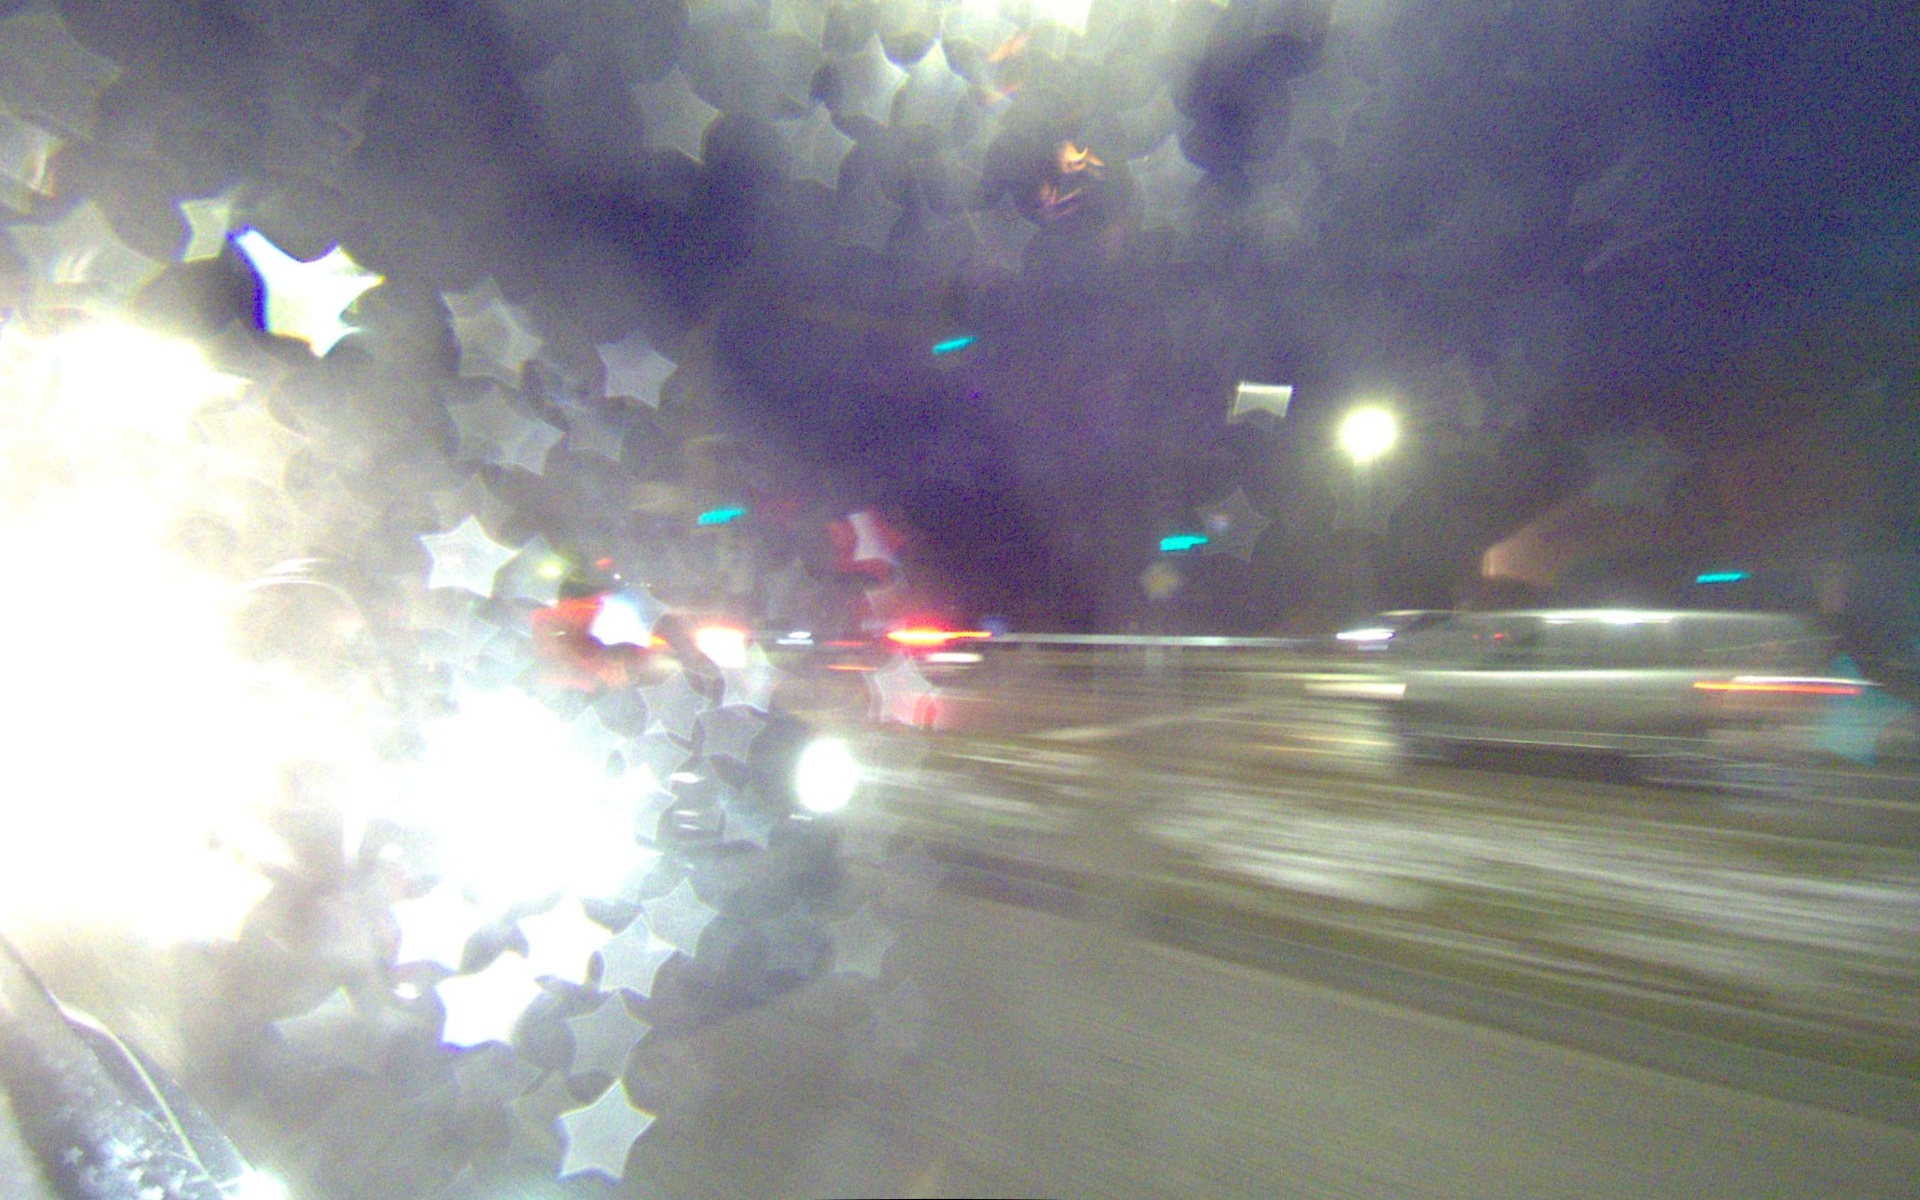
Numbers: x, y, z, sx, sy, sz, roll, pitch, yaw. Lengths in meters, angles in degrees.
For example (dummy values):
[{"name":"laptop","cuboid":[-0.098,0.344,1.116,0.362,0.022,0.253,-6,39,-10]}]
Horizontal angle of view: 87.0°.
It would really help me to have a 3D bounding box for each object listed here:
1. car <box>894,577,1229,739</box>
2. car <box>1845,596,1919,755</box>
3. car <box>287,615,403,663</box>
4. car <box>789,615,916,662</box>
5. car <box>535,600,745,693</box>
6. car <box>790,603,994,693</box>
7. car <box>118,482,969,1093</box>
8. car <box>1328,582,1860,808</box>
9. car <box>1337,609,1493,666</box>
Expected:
[{"name":"car","cuboid":[1.141,0.591,12.593,3.948,1.704,1.663,1,0,43]},{"name":"car","cuboid":[10.059,0.663,8.126,4.410,1.364,1.699,0,0,43]},{"name":"car","cuboid":[-21.801,1.330,35.818,4.904,1.583,1.776,0,-1,36]},{"name":"car","cuboid":[-3.557,1.273,34.125,4.078,1.460,2.181,1,0,0]},{"name":"car","cuboid":[-6.241,0.810,19.443,4.710,1.583,1.681,0,-1,41]},{"name":"car","cuboid":[-1.333,0.825,18.961,3.726,1.464,1.651,1,0,41]},{"name":"car","cuboid":[-2.460,0.553,5.154,4.933,1.717,1.890,-1,-1,39]},{"name":"car","cuboid":[5.275,0.633,8.697,3.651,1.537,1.568,1,0,42]},{"name":"car","cuboid":[16.670,1.360,37.220,4.850,1.954,2.002,1,0,-4]}]
